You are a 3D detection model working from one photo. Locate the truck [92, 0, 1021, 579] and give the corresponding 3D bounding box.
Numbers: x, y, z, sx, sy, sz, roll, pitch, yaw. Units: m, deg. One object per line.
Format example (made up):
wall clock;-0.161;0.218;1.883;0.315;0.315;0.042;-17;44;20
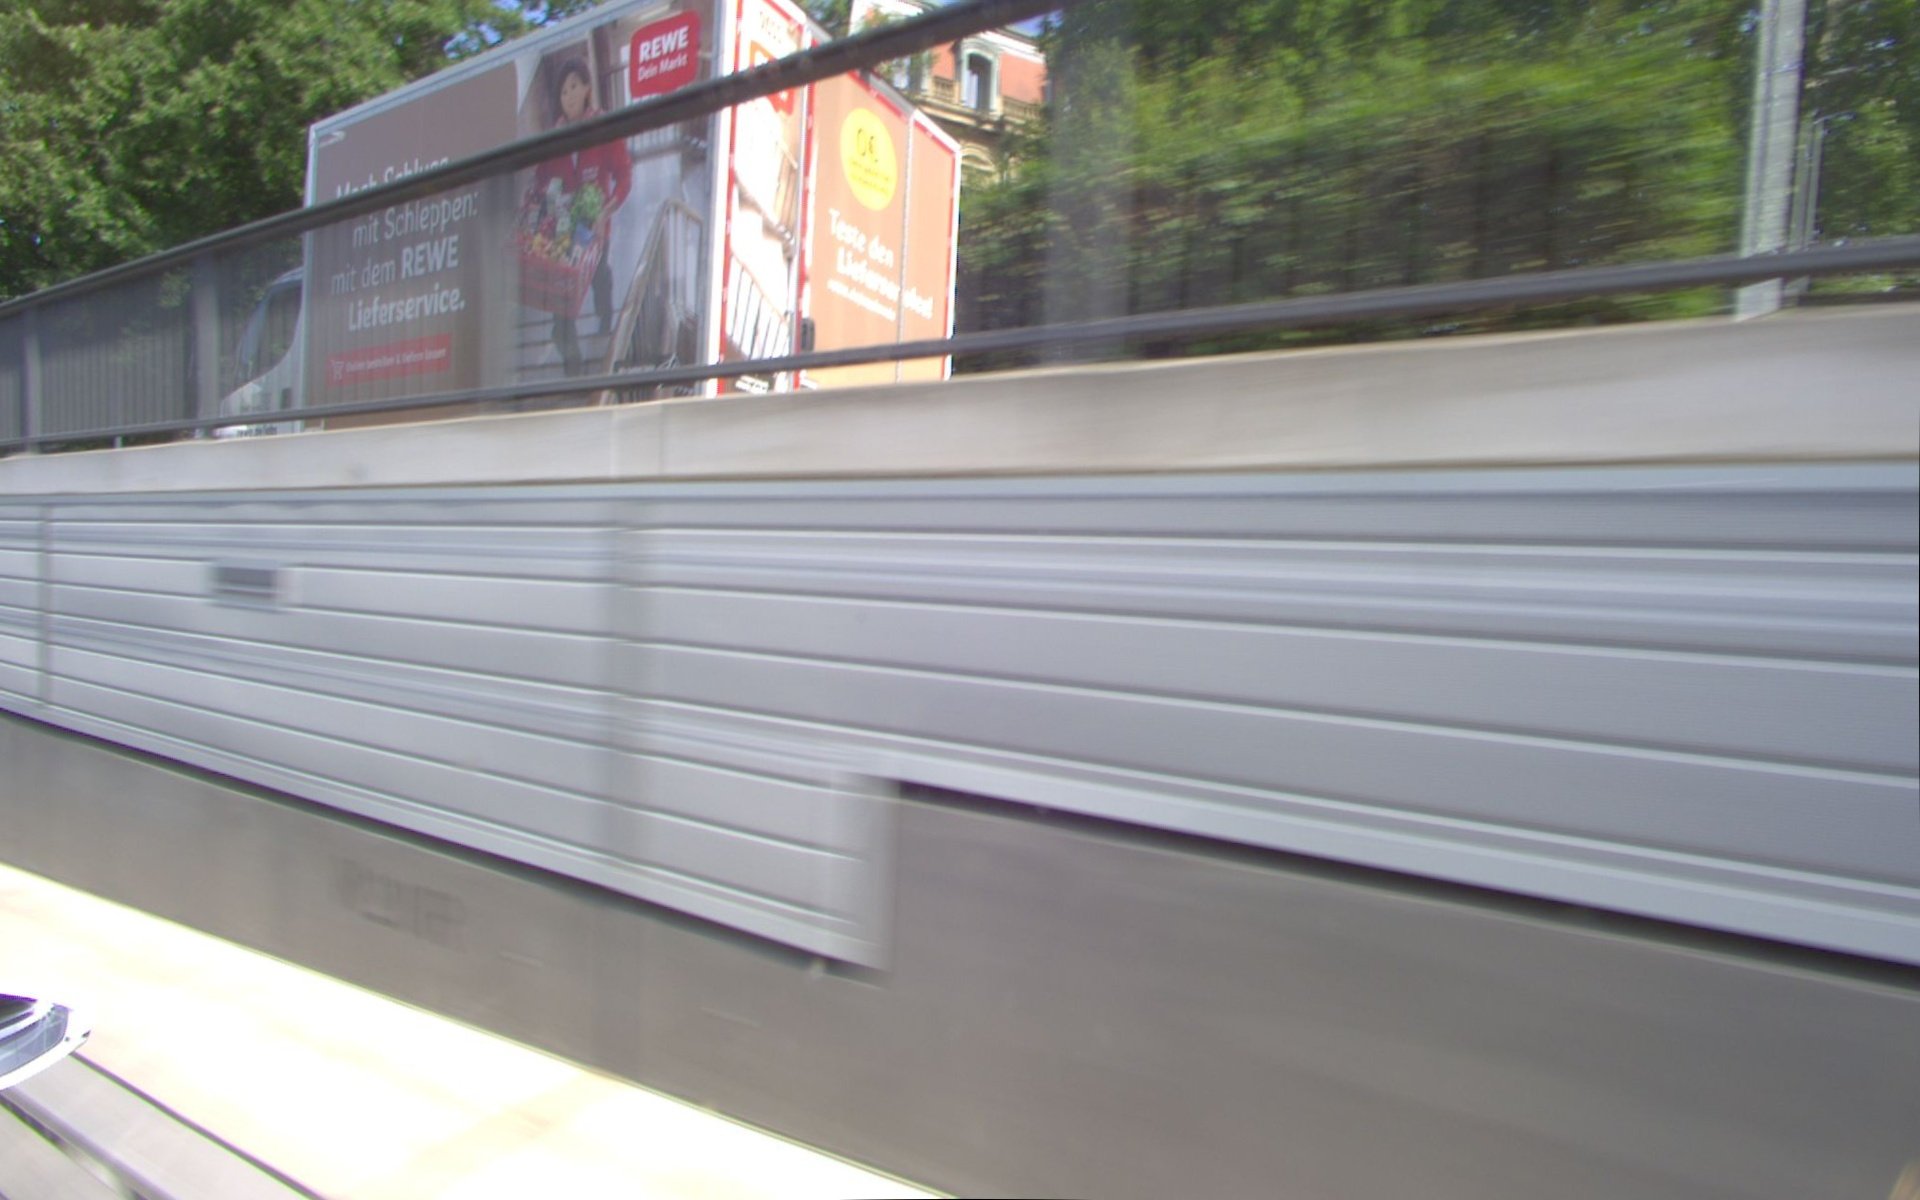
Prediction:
truck;-3.568;-1.912;7.625;7.707;3.101;2.498;3;0;33
